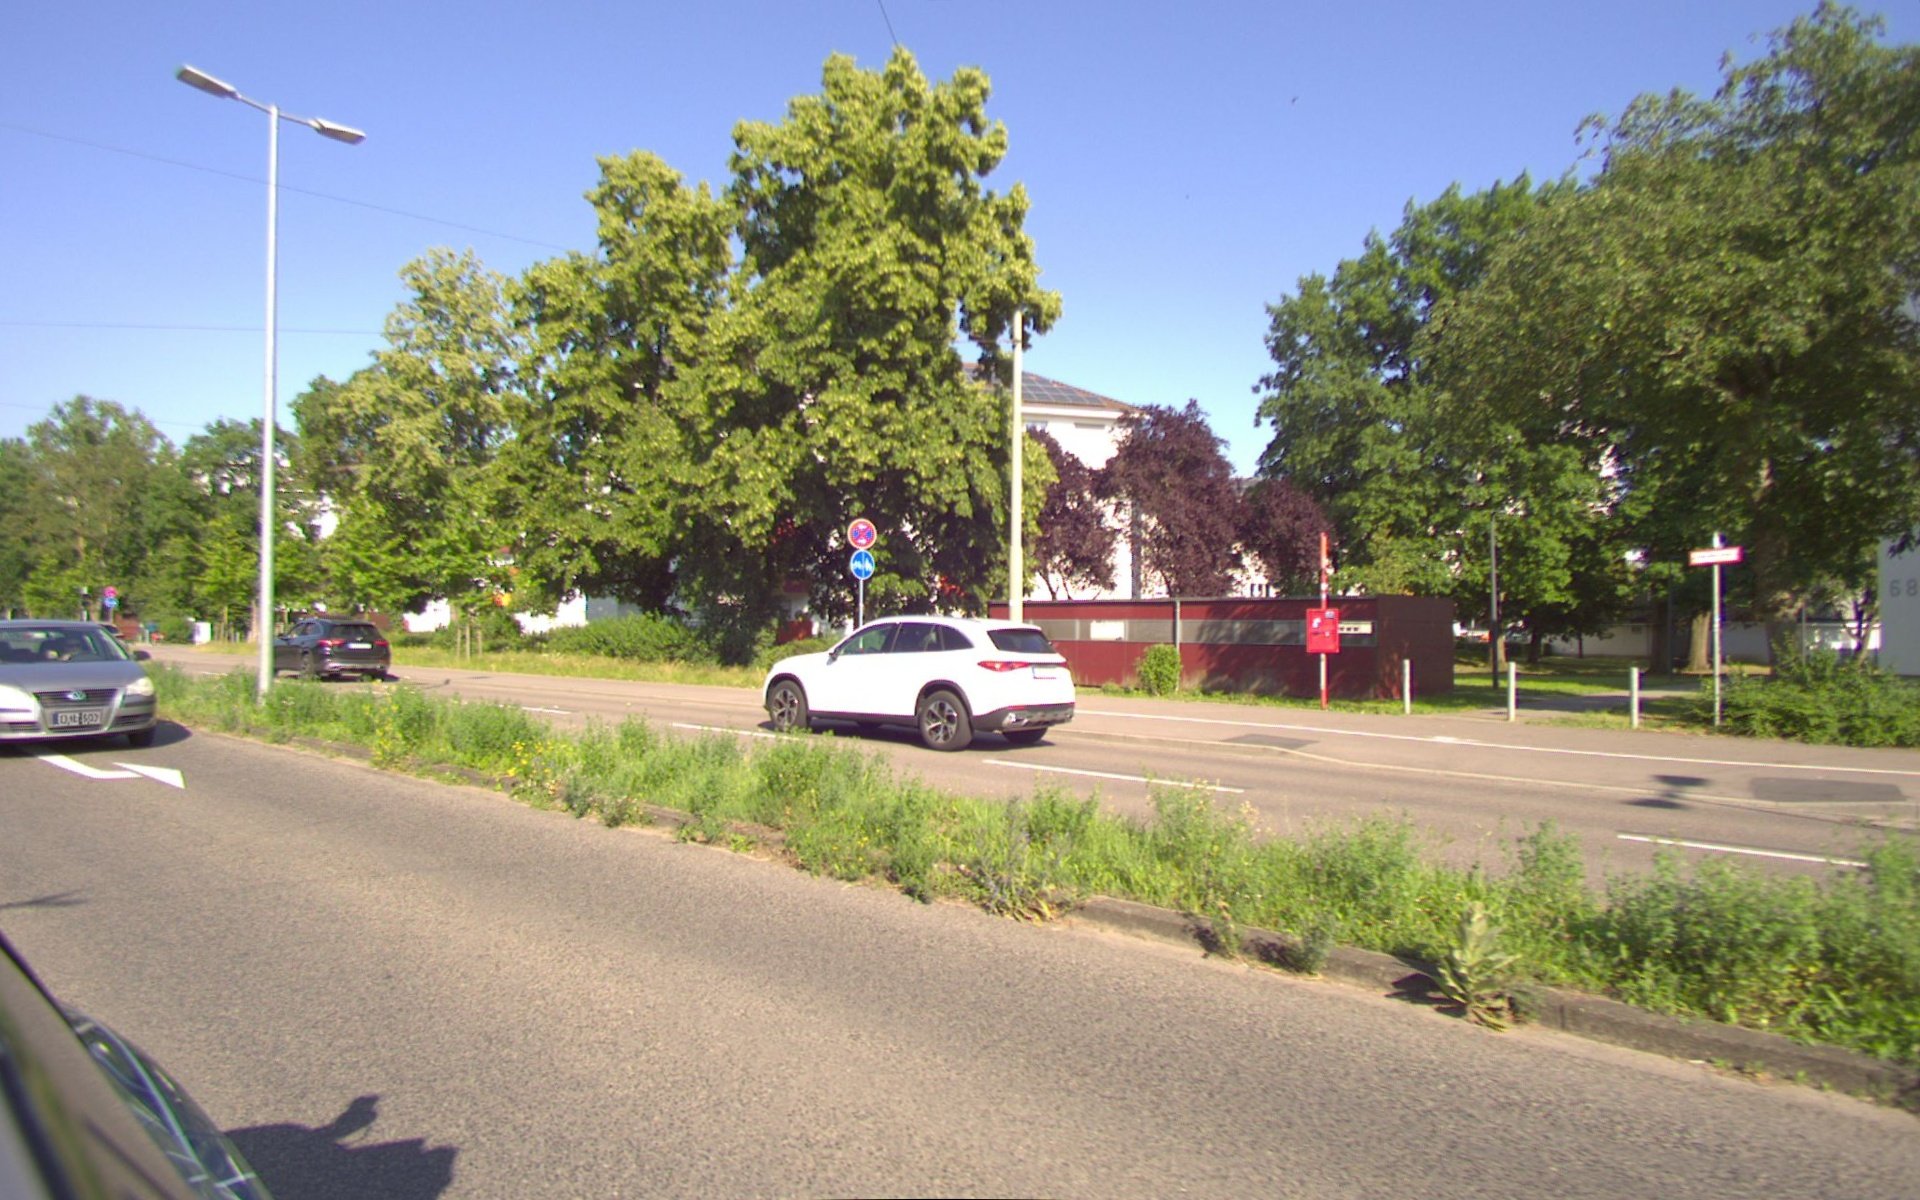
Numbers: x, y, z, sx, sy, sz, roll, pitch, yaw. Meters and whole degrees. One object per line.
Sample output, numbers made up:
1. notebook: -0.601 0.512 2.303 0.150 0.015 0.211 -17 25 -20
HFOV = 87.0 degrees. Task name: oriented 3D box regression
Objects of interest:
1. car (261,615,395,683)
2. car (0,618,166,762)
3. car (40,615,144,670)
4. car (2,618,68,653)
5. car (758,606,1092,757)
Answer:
1. car: -17.073 1.305 27.281 4.044 1.692 1.752 -1 -4 38
2. car: -10.811 0.940 11.827 3.830 1.439 1.671 -1 -1 40
3. car: -28.262 1.362 32.931 4.044 1.692 1.752 -1 -4 38
4. car: -46.718 1.783 51.096 4.044 1.692 1.752 -1 -4 38
5. car: -0.595 0.994 13.496 4.511 1.692 1.642 -1 -4 40
